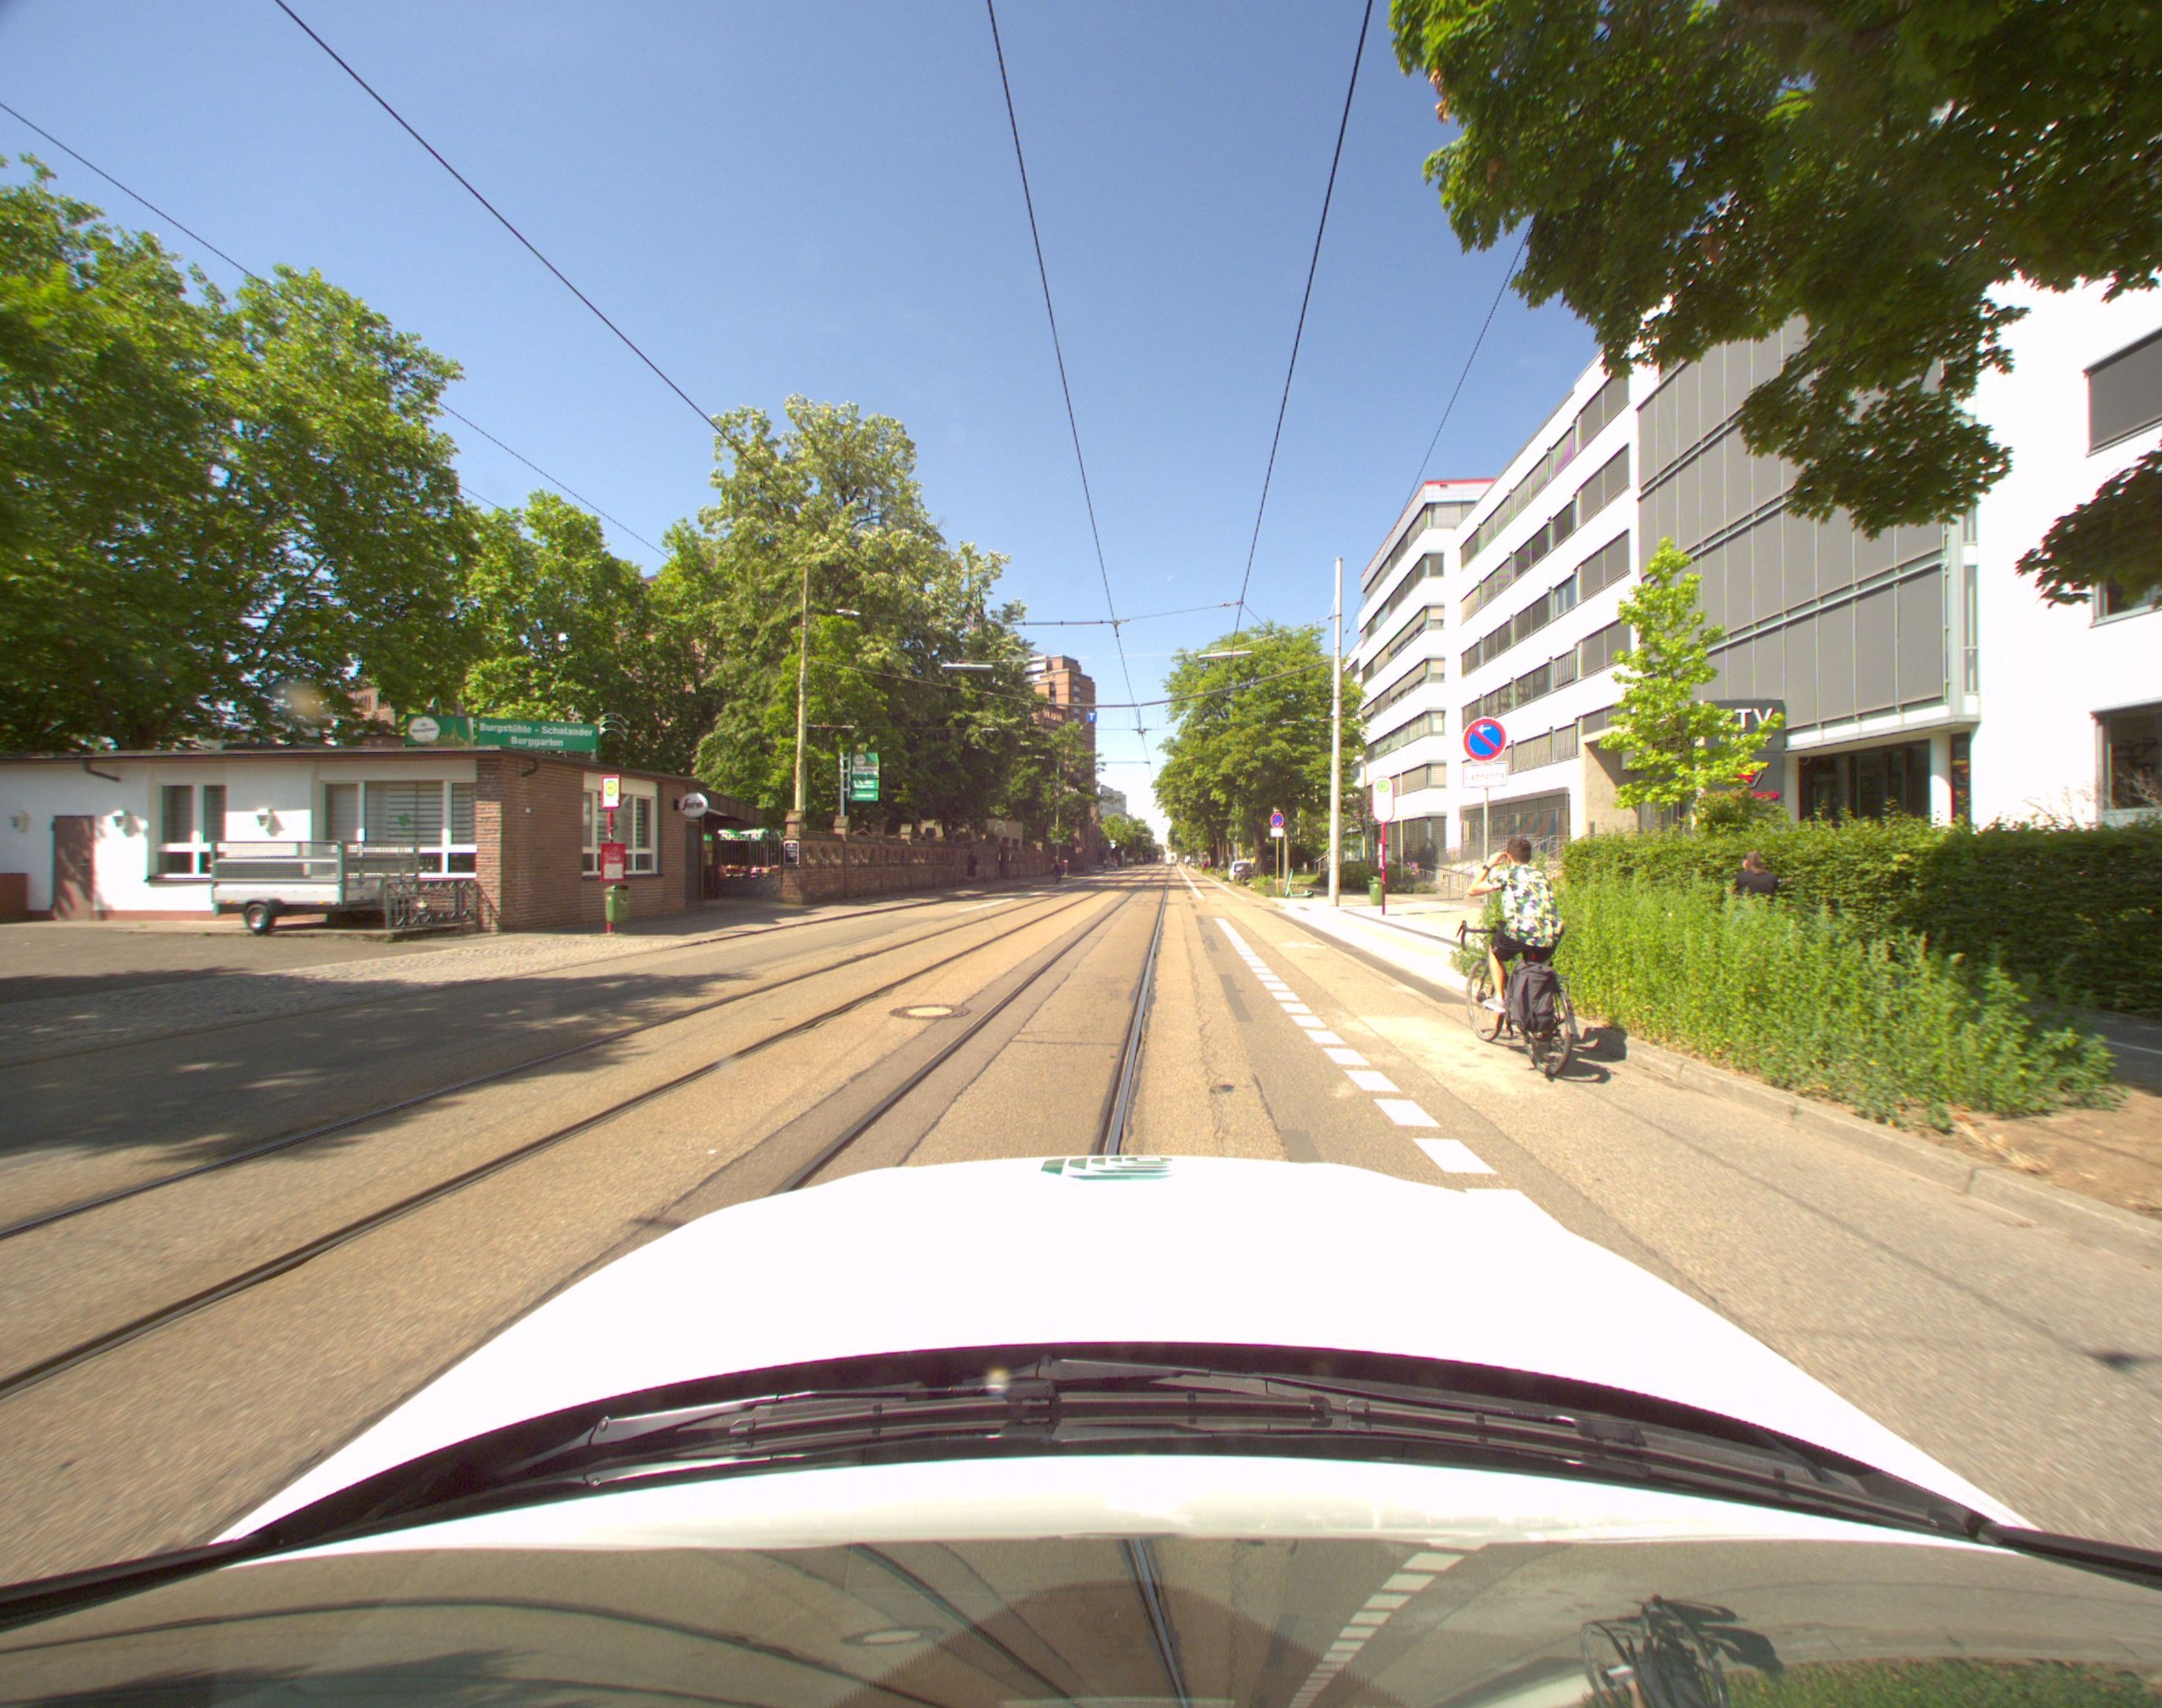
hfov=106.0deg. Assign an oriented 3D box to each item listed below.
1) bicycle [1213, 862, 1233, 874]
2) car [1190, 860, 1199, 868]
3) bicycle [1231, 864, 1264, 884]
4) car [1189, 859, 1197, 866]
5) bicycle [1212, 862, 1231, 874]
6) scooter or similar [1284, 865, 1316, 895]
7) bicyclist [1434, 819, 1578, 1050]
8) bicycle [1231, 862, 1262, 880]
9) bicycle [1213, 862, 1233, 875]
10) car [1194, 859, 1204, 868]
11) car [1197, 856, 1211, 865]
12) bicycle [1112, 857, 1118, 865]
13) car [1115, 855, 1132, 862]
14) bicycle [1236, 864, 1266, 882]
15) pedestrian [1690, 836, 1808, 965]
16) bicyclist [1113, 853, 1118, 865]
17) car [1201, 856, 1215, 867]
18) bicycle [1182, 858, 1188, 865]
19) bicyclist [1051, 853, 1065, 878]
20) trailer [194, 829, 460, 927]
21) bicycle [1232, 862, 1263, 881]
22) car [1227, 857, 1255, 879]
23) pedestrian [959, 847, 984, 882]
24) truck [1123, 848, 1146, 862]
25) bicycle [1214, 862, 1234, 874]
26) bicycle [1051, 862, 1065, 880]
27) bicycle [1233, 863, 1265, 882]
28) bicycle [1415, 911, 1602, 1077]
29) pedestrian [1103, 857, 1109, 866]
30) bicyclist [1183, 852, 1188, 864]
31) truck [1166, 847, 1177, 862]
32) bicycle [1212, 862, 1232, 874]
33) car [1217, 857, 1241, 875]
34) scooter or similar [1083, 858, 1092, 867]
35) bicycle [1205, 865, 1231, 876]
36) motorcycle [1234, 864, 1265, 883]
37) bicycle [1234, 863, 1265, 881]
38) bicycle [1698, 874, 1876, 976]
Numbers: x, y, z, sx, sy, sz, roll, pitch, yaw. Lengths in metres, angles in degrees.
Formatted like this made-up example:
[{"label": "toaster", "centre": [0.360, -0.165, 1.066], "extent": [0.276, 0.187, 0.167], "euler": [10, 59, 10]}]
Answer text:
[{"label": "bicycle", "centre": [12.873, 1.299, 73.986], "extent": [1.716, 1.086, 0.698], "euler": [0, -1, 5]}, {"label": "car", "centre": [21.630, 1.893, 155.794], "extent": [1.621, 1.472, 4.121], "euler": [0, 0, 7]}, {"label": "bicycle", "centre": [9.317, 1.135, 45.532], "extent": [1.716, 1.086, 0.790], "euler": [0, -1, 5]}, {"label": "car", "centre": [24.946, 1.880, 181.254], "extent": [1.621, 1.472, 4.121], "euler": [0, 0, 7]}, {"label": "bicycle", "centre": [13.117, 1.326, 76.278], "extent": [1.716, 1.086, 0.616], "euler": [0, -1, 5]}, {"label": "scooter or similar", "centre": [8.552, 1.005, 31.799], "extent": [1.119, 1.166, 0.677], "euler": [0, 0, 8]}, {"label": "bicyclist", "centre": [3.398, 0.597, 6.597], "extent": [0.713, 1.724, 0.989], "euler": [0, 0, 5]}, {"label": "bicycle", "centre": [10.517, 1.083, 51.814], "extent": [1.894, 1.169, 0.820], "euler": [0, -1, 5]}, {"label": "bicycle", "centre": [12.759, 1.302, 73.335], "extent": [1.716, 1.086, 0.629], "euler": [0, -1, 5]}, {"label": "car", "centre": [19.950, 1.555, 137.953], "extent": [1.621, 1.472, 4.121], "euler": [0, 0, 7]}, {"label": "car", "centre": [17.569, 0.934, 116.367], "extent": [1.622, 1.355, 3.906], "euler": [0, 0, 4]}, {"label": "bicycle", "centre": [4.848, 1.023, 114.619], "extent": [0.659, 1.154, 2.018], "euler": [0, 0, 7]}, {"label": "car", "centre": [10.840, 1.203, 208.005], "extent": [4.005, 1.750, 1.984], "euler": [0, -1, -24]}, {"label": "bicycle", "centre": [10.261, 1.141, 49.080], "extent": [1.716, 1.086, 0.640], "euler": [0, -1, 5]}, {"label": "pedestrian", "centre": [8.571, 0.576, 10.493], "extent": [0.683, 1.563, 0.989], "euler": [-2, -1, 2]}, {"label": "bicyclist", "centre": [4.866, 0.685, 114.690], "extent": [0.721, 1.698, 1.148], "euler": [0, -1, 6]}, {"label": "car", "centre": [16.583, 0.974, 106.538], "extent": [1.622, 1.472, 3.724], "euler": [1, 0, 4]}, {"label": "bicycle", "centre": [15.670, 1.141, 122.417], "extent": [0.851, 1.110, 2.143], "euler": [0, 0, 6]}, {"label": "bicyclist", "centre": [-1.452, 0.715, 51.123], "extent": [0.736, 1.531, 0.949], "euler": [0, -1, 7]}, {"label": "trailer", "centre": [-13.289, 0.399, 14.470], "extent": [3.256, 1.603, 1.727], "euler": [0, 0, 7]}, {"label": "bicycle", "centre": [10.440, 1.101, 51.170], "extent": [1.863, 1.141, 0.687], "euler": [0, -1, 5]}, {"label": "car", "centre": [10.903, 0.920, 55.679], "extent": [1.621, 1.472, 3.638], "euler": [0, 0, 7]}, {"label": "pedestrian", "centre": [-5.927, 0.549, 44.122], "extent": [0.971, 1.816, 1.187], "euler": [4, 0, 7]}, {"label": "truck", "centre": [15.616, 0.298, 236.806], "extent": [2.786, 3.859, 10.060], "euler": [0, -1, 28]}, {"label": "bicycle", "centre": [13.088, 1.301, 74.620], "extent": [1.716, 1.086, 0.571], "euler": [0, -1, 5]}, {"label": "bicycle", "centre": [-1.443, 1.068, 51.043], "extent": [0.588, 1.105, 2.058], "euler": [0, 0, 7]}, {"label": "bicycle", "centre": [10.409, 1.146, 50.490], "extent": [1.840, 1.132, 0.681], "euler": [0, -1, 5]}, {"label": "bicycle", "centre": [3.392, 1.039, 6.704], "extent": [0.605, 0.984, 2.168], "euler": [0, 0, 6]}, {"label": "pedestrian", "centre": [3.872, 1.179, 127.491], "extent": [0.881, 1.512, 1.474], "euler": [0, -1, -2]}, {"label": "bicyclist", "centre": [15.721, 0.604, 122.555], "extent": [0.633, 1.871, 1.026], "euler": [0, -1, 6]}, {"label": "truck", "centre": [19.609, 0.152, 176.228], "extent": [2.390, 3.109, 6.047], "euler": [0, 0, 6]}, {"label": "bicycle", "centre": [13.023, 1.301, 75.220], "extent": [1.716, 1.086, 0.590], "euler": [0, -1, 5]}, {"label": "car", "centre": [12.262, 0.981, 67.652], "extent": [1.622, 1.483, 4.278], "euler": [0, 0, 5]}, {"label": "scooter or similar", "centre": [0.824, 1.061, 100.349], "extent": [1.193, 1.129, 0.330], "euler": [1, -1, -45]}, {"label": "bicycle", "centre": [16.413, 2.001, 97.344], "extent": [3.010, 1.332, 1.044], "euler": [0, -1, 9]}, {"label": "motorcycle", "centre": [9.861, 1.126, 47.708], "extent": [1.716, 1.086, 0.659], "euler": [0, -1, 5]}, {"label": "bicycle", "centre": [10.325, 1.073, 49.966], "extent": [1.784, 1.086, 0.727], "euler": [0, -1, 5]}, {"label": "bicycle", "centre": [8.851, 0.834, 10.345], "extent": [0.633, 1.117, 2.070], "euler": [0, 0, 6]}]
